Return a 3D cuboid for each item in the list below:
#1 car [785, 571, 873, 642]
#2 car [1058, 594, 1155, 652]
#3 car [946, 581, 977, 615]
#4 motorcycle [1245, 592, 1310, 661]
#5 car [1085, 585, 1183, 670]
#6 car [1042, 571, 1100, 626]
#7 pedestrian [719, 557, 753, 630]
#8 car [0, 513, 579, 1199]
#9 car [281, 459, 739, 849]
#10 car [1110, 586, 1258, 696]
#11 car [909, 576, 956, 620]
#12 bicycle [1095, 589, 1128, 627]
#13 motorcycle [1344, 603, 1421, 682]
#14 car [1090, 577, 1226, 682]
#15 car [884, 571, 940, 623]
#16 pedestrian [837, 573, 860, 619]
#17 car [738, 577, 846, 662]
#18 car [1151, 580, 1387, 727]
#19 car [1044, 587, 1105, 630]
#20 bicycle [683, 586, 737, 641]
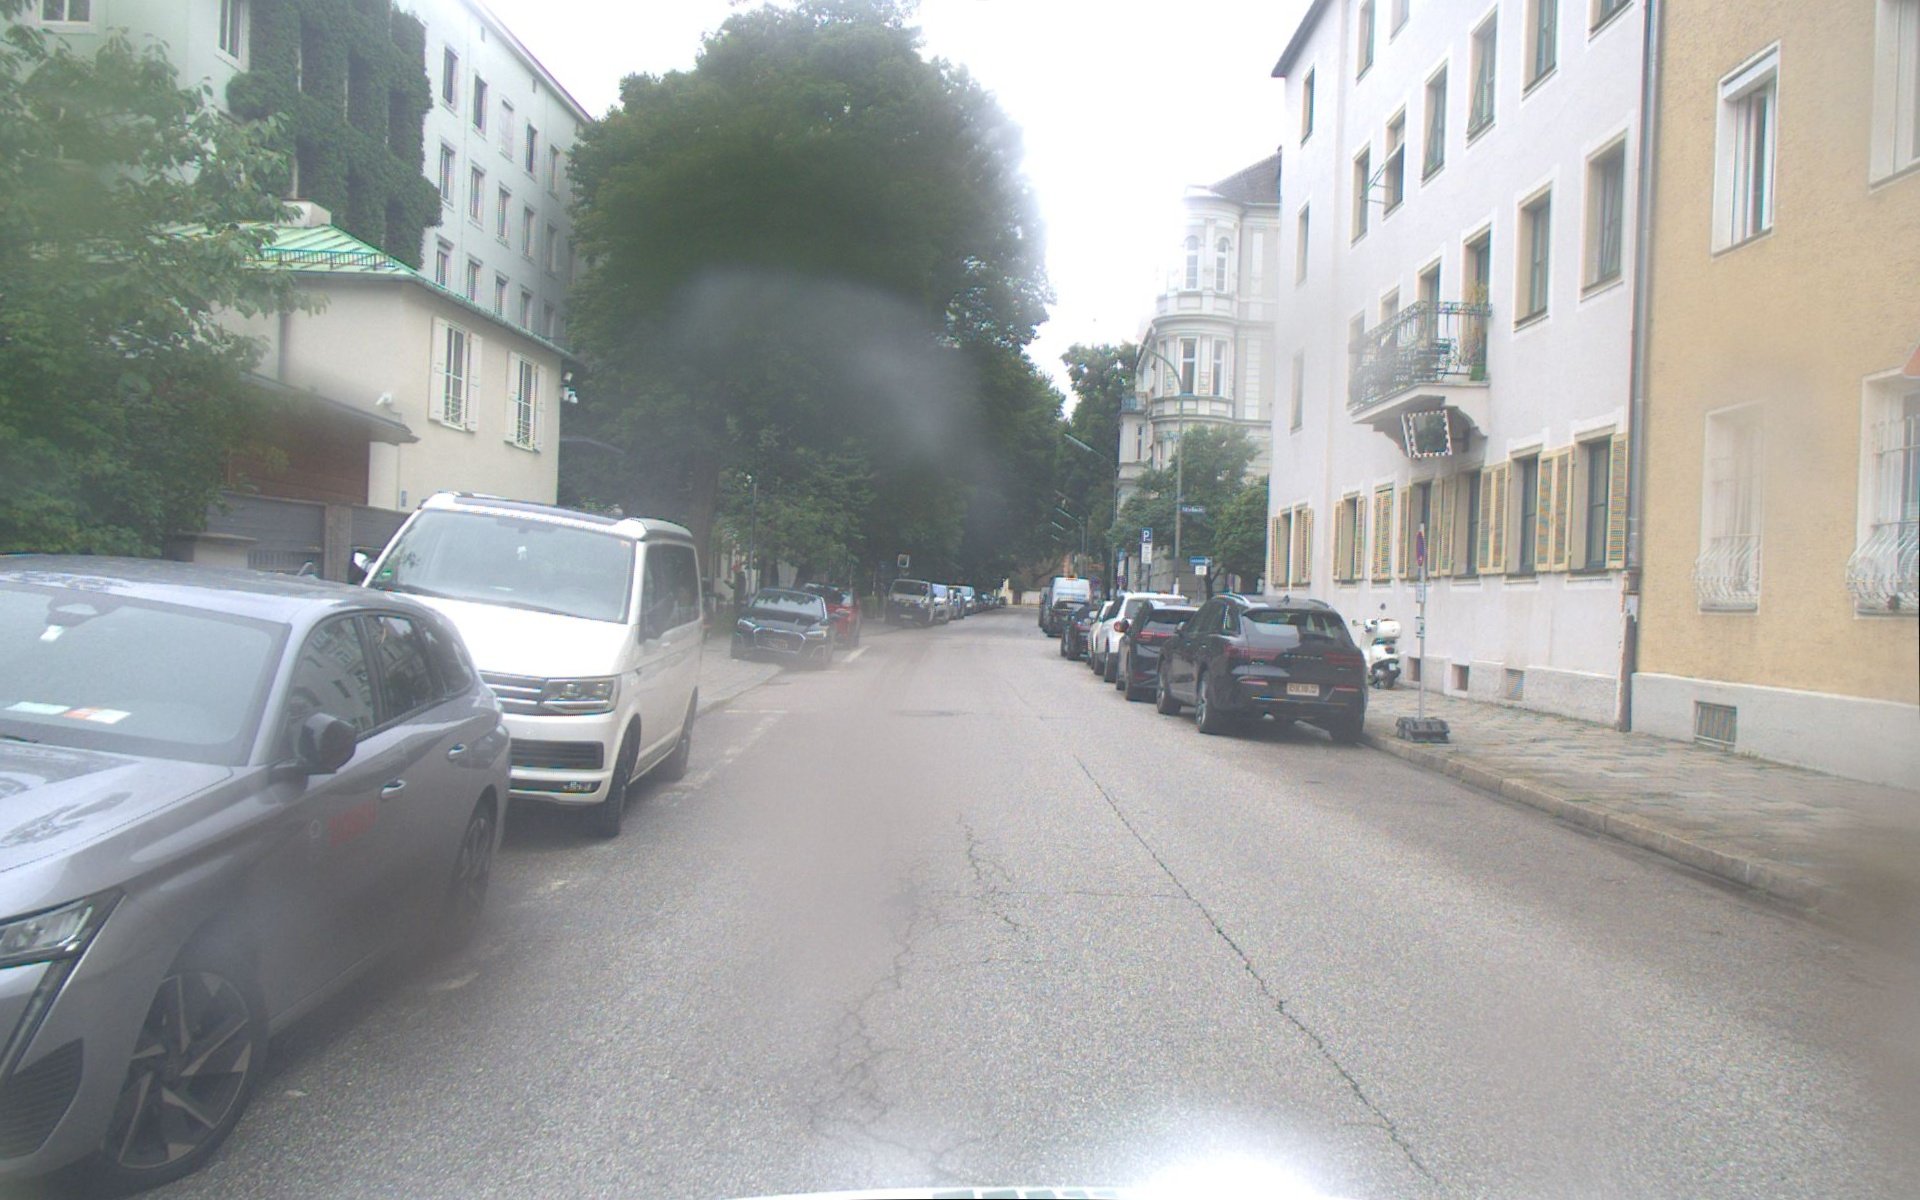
[{"bbox_3d":[-3.274,0.144,42.112,1.849,1.618,4.527,3,0,0],"label":"car"},{"bbox_3d":[3.577,0.532,41.098,1.959,1.342,4.595,0,0,0],"label":"car"},{"bbox_3d":[0.113,-0.158,114.967,1.961,2.224,4.697,3,0,1],"label":"car"},{"bbox_3d":[7.144,0.567,37.372,0.840,1.458,2.706,2,0,-2],"label":"motorcycle"},{"bbox_3d":[3.758,0.570,36.221,1.735,1.572,3.712,6,0,2],"label":"car"},{"bbox_3d":[4.663,-0.060,70.186,2.158,2.247,4.855,1,0,1],"label":"car"},{"bbox_3d":[-5.875,-0.169,43.420,0.698,1.885,0.797,3,0,0],"label":"pedestrian"},{"bbox_3d":[-2.652,0.566,5.634,1.850,1.570,4.693,2,0,-4],"label":"car"},{"bbox_3d":[-2.794,0.282,11.604,1.927,2.025,5.149,3,0,-3],"label":"car"},{"bbox_3d":[3.461,0.581,26.294,1.800,1.558,4.416,1,0,1],"label":"car"},{"bbox_3d":[-1.335,-0.100,81.980,2.139,1.990,5.166,3,0,-1],"label":"car"},{"bbox_3d":[6.383,0.322,69.632,0.695,1.542,2.031,2,0,-14],"label":"bicycle"},{"bbox_3d":[7.271,0.711,28.582,0.717,1.260,2.007,3,0,-1],"label":"motorcycle"},{"bbox_3d":[3.683,0.506,31.598,1.953,1.736,4.534,4,0,0],"label":"car"},{"bbox_3d":[-1.989,-0.127,70.270,2.202,1.990,5.453,3,0,-1],"label":"car"},{"bbox_3d":[-3.958,-0.139,58.665,0.699,1.575,0.752,4,0,-4],"label":"pedestrian"},{"bbox_3d":[-3.211,0.341,32.377,1.771,1.426,4.921,3,0,-3],"label":"car"},{"bbox_3d":[3.724,0.576,20.859,1.823,1.604,4.897,1,0,-3],"label":"car"},{"bbox_3d":[4.366,0.316,63.224,2.225,1.573,4.589,1,0,4],"label":"car"},{"bbox_3d":[-5.424,0.277,36.016,0.635,1.150,2.049,2,0,6],"label":"bicycle"}]
